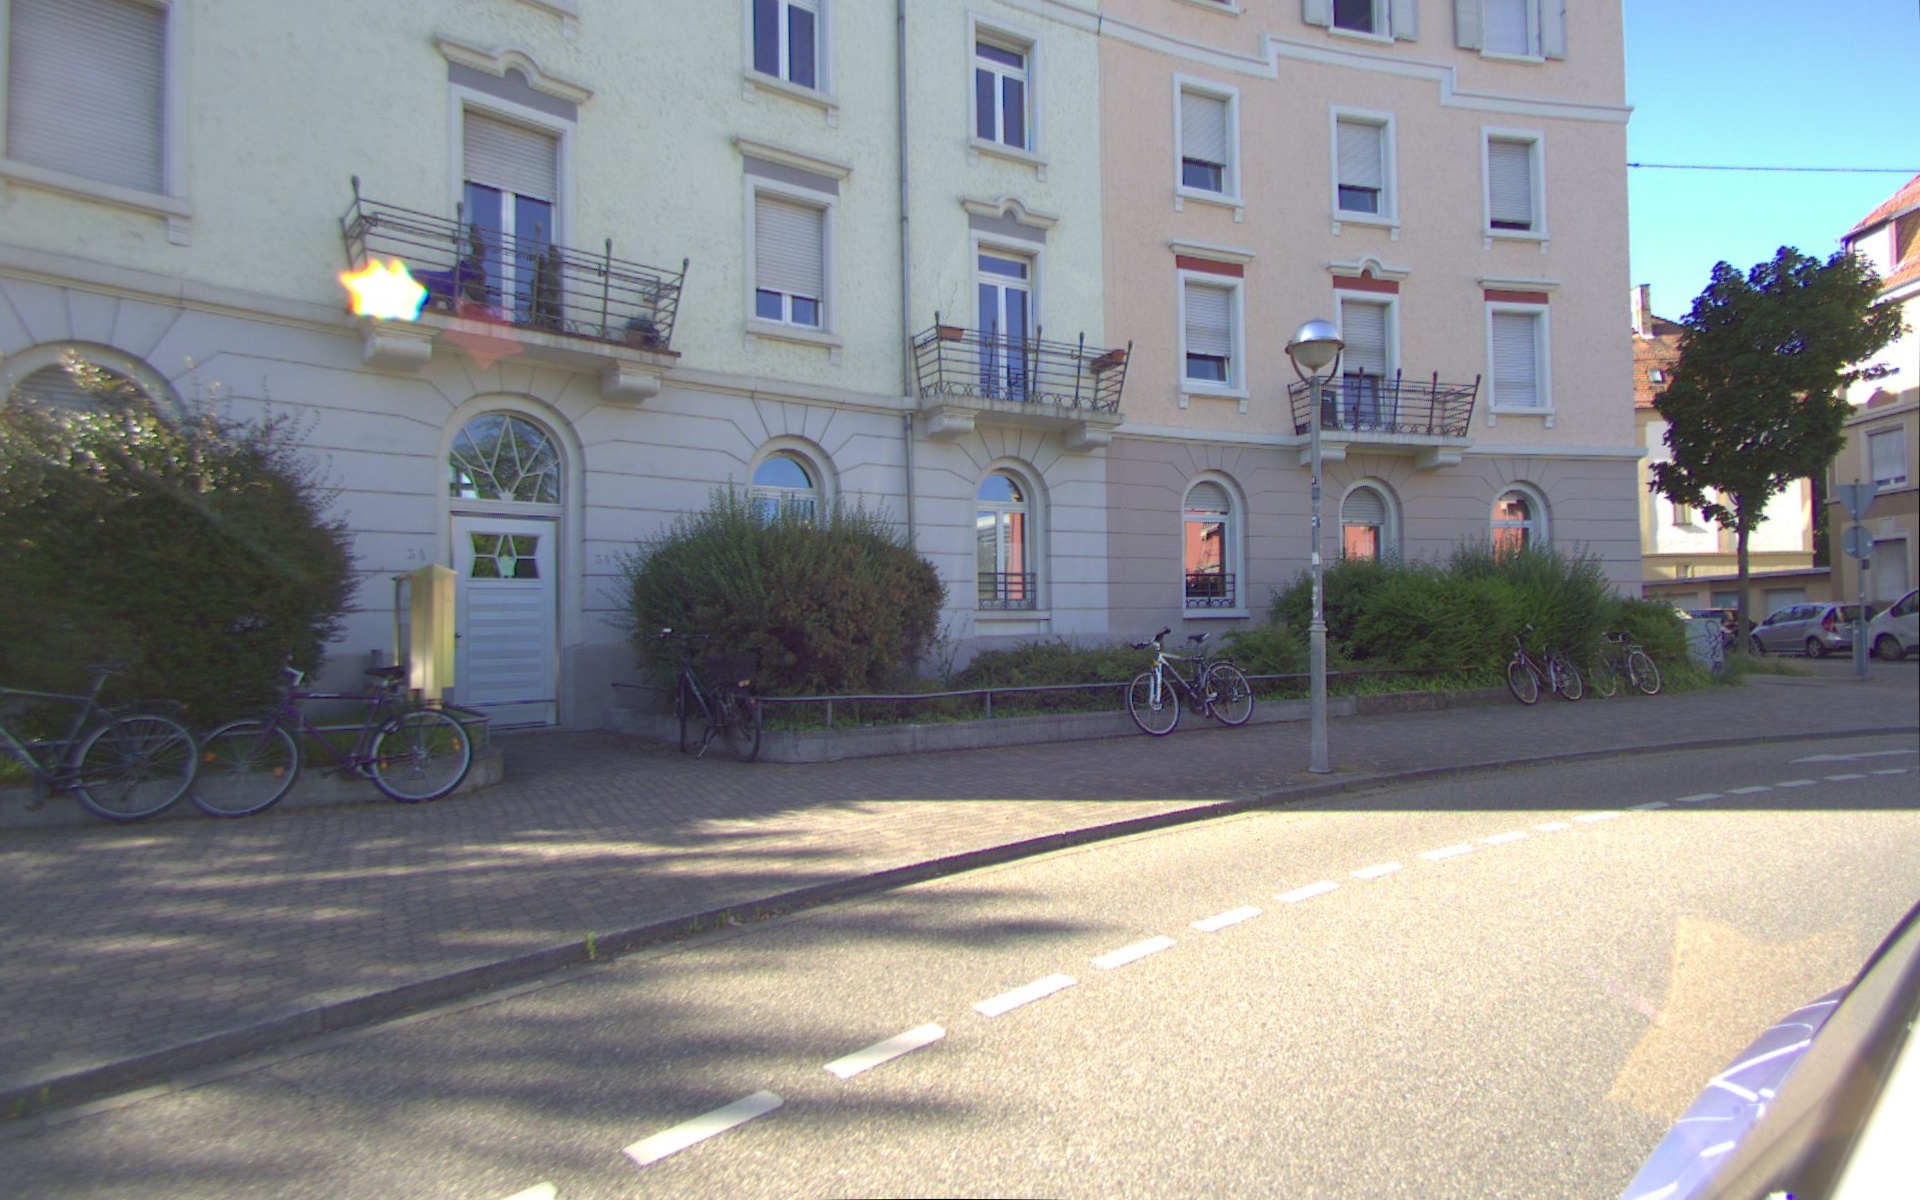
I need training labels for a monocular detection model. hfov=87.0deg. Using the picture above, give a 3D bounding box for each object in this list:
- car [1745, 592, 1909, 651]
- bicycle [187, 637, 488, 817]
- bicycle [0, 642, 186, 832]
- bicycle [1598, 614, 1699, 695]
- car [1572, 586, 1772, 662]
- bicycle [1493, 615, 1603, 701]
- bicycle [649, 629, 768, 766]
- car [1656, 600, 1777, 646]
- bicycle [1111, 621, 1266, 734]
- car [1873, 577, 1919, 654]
[{"bbox_3d":[25.205,0.640,29.601,1.608,1.593,3.734,-1,-2,3],"label":"car"},{"bbox_3d":[-4.311,0.844,7.159,1.763,1.122,0.501,0,-1,-25],"label":"bicycle"},{"bbox_3d":[-6.010,0.848,6.341,1.762,1.122,0.501,0,-1,-19],"label":"bicycle"},{"bbox_3d":[10.049,0.769,14.753,1.652,1.102,0.503,0,0,-28],"label":"bicycle"},{"bbox_3d":[17.185,0.582,24.743,1.874,1.663,4.342,-1,-2,3],"label":"car"},{"bbox_3d":[8.083,0.769,13.901,1.652,1.102,0.503,0,0,-28],"label":"bicycle"},{"bbox_3d":[-2.368,0.846,9.405,0.491,1.122,1.682,0,-1,-35],"label":"bicycle"},{"bbox_3d":[25.296,0.767,33.984,1.608,1.446,3.330,-1,-2,3],"label":"car"},{"bbox_3d":[2.455,0.799,10.825,1.652,1.102,0.503,0,0,-26],"label":"bicycle"},{"bbox_3d":[25.170,0.344,24.379,2.101,1.934,4.559,-1,-2,0],"label":"car"}]
